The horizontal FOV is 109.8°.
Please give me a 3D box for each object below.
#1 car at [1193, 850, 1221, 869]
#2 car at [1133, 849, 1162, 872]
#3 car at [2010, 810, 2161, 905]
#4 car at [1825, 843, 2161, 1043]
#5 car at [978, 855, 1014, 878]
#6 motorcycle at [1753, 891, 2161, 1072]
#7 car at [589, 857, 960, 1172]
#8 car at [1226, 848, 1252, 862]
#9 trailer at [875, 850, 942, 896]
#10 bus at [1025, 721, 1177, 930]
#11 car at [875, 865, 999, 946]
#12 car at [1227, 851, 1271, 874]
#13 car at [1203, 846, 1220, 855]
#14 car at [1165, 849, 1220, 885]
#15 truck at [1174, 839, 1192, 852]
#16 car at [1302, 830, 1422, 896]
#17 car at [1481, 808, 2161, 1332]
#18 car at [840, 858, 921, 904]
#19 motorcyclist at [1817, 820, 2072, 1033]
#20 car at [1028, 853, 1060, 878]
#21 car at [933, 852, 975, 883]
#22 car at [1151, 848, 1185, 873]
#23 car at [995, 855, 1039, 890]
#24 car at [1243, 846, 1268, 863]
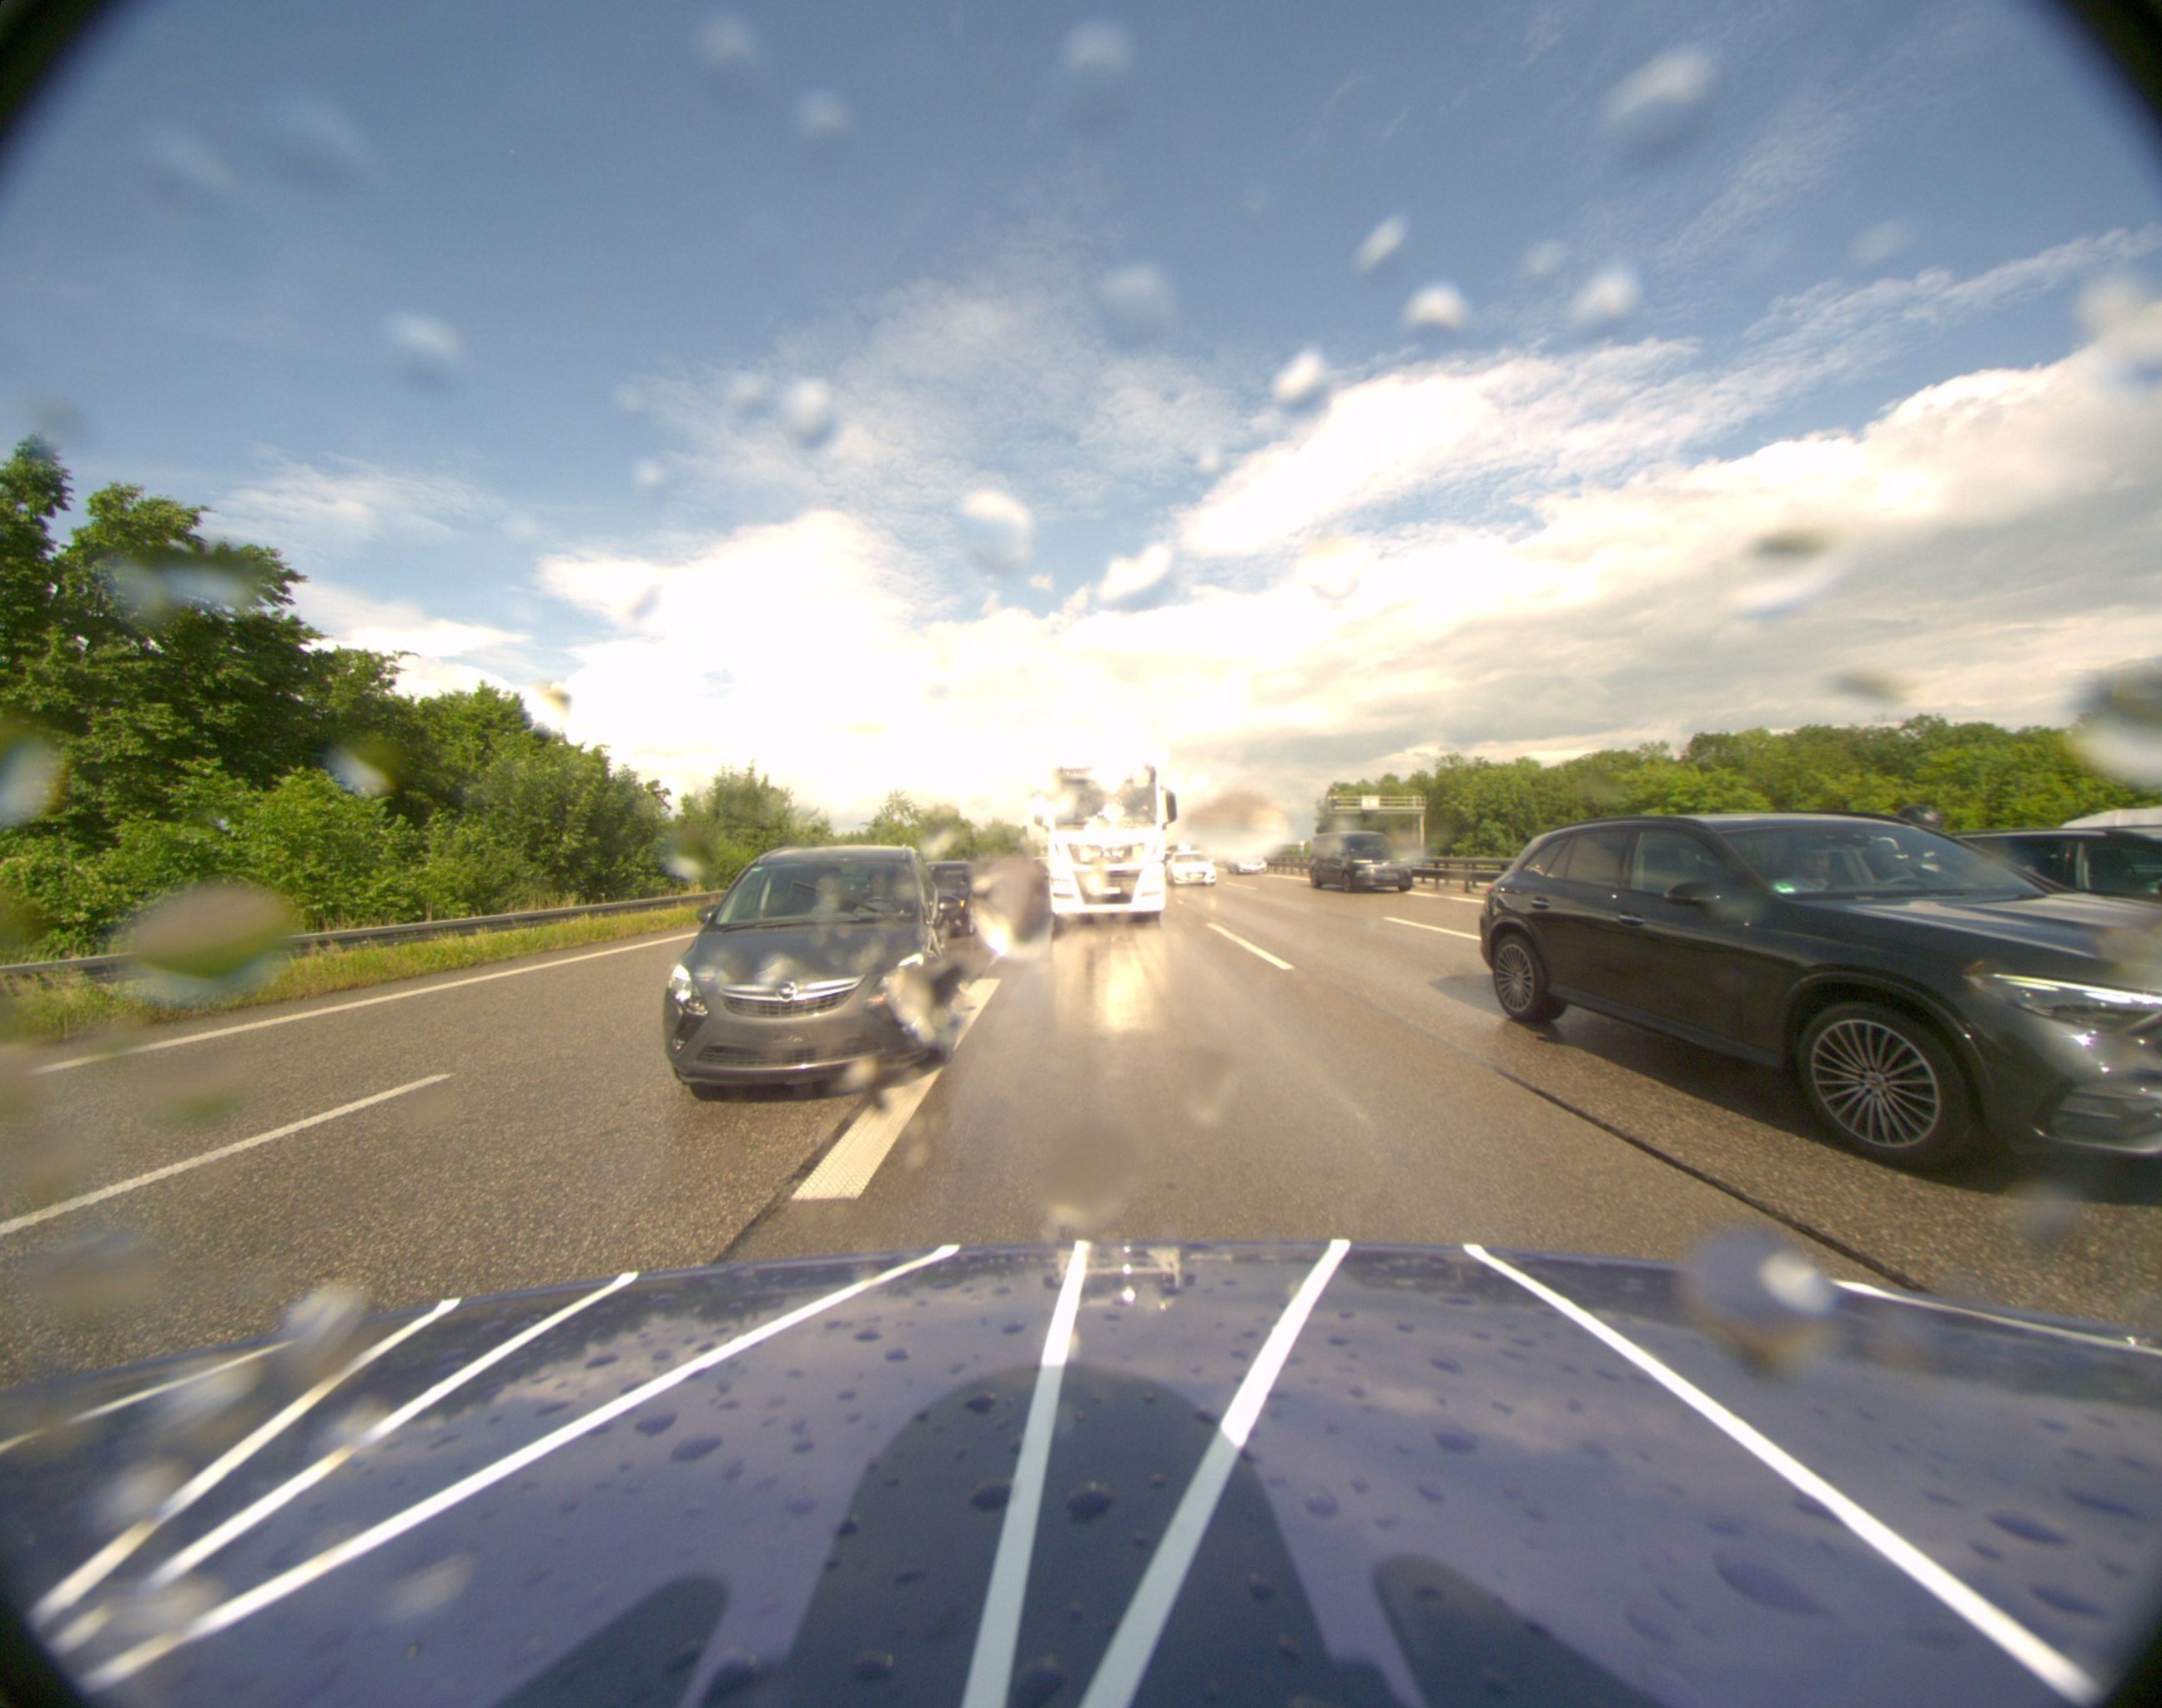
[{"bbox_3d":[10.030,0.382,60.644,1.618,1.412,4.000,-2,0,1],"label":"car"},{"bbox_3d":[5.257,0.502,60.258,1.889,1.707,3.999,-2,1,-1],"label":"car"},{"bbox_3d":[23.719,0.045,16.402,1.998,2.002,4.362,-2,1,1],"label":"car"},{"bbox_3d":[8.863,0.643,5.919,1.925,1.416,4.372,-2,1,2],"label":"car"},{"bbox_3d":[-5.453,0.793,49.243,1.771,1.343,4.579,-2,1,1],"label":"car"},{"bbox_3d":[6.830,0.889,6.129,0.692,1.022,2.388,-2,1,0],"label":"motorcycle"},{"bbox_3d":[-2.050,0.881,6.591,1.859,1.622,4.732,-2,0,-8],"label":"car"},{"bbox_3d":[17.246,0.082,83.070,1.867,1.383,3.999,-2,1,-2],"label":"car"},{"bbox_3d":[-7.214,0.736,32.183,1.810,1.736,3.967,-3,1,0],"label":"trailer"},{"bbox_3d":[0.467,-0.601,20.189,2.904,4.104,9.844,-2,0,1],"label":"bus"},{"bbox_3d":[-2.813,0.954,15.628,1.722,1.346,3.884,-2,0,1],"label":"car"},{"bbox_3d":[9.840,0.472,44.726,1.857,1.182,3.583,-2,1,2],"label":"car"},{"bbox_3d":[19.245,-0.545,112.144,1.872,1.346,4.493,-2,0,1],"label":"car"},{"bbox_3d":[4.700,0.512,32.638,1.809,1.389,4.240,-1,1,1],"label":"car"},{"bbox_3d":[24.358,-2.103,181.620,2.923,2.970,8.720,-2,1,0],"label":"truck"},{"bbox_3d":[9.100,0.244,25.133,1.998,1.906,5.235,-2,1,0],"label":"car"},{"bbox_3d":[4.422,0.643,4.386,1.881,1.669,4.626,-2,1,2],"label":"car"},{"bbox_3d":[-7.260,0.932,27.989,1.747,1.422,4.404,-2,1,0],"label":"car"},{"bbox_3d":[6.825,0.526,6.083,0.798,1.528,1.093,-2,1,0],"label":"motorcyclist"},{"bbox_3d":[-2.279,0.680,47.799,1.858,1.434,3.999,-2,1,-1],"label":"car"},{"bbox_3d":[-6.584,0.658,39.702,1.616,1.480,3.480,-2,1,-1],"label":"car"},{"bbox_3d":[5.219,0.386,45.960,1.597,1.390,3.999,-2,1,0],"label":"car"},{"bbox_3d":[-2.724,0.757,32.982,1.744,1.357,3.998,-2,0,-3],"label":"car"},{"bbox_3d":[21.823,-0.023,95.281,1.856,2.002,5.076,-2,1,0],"label":"car"}]
